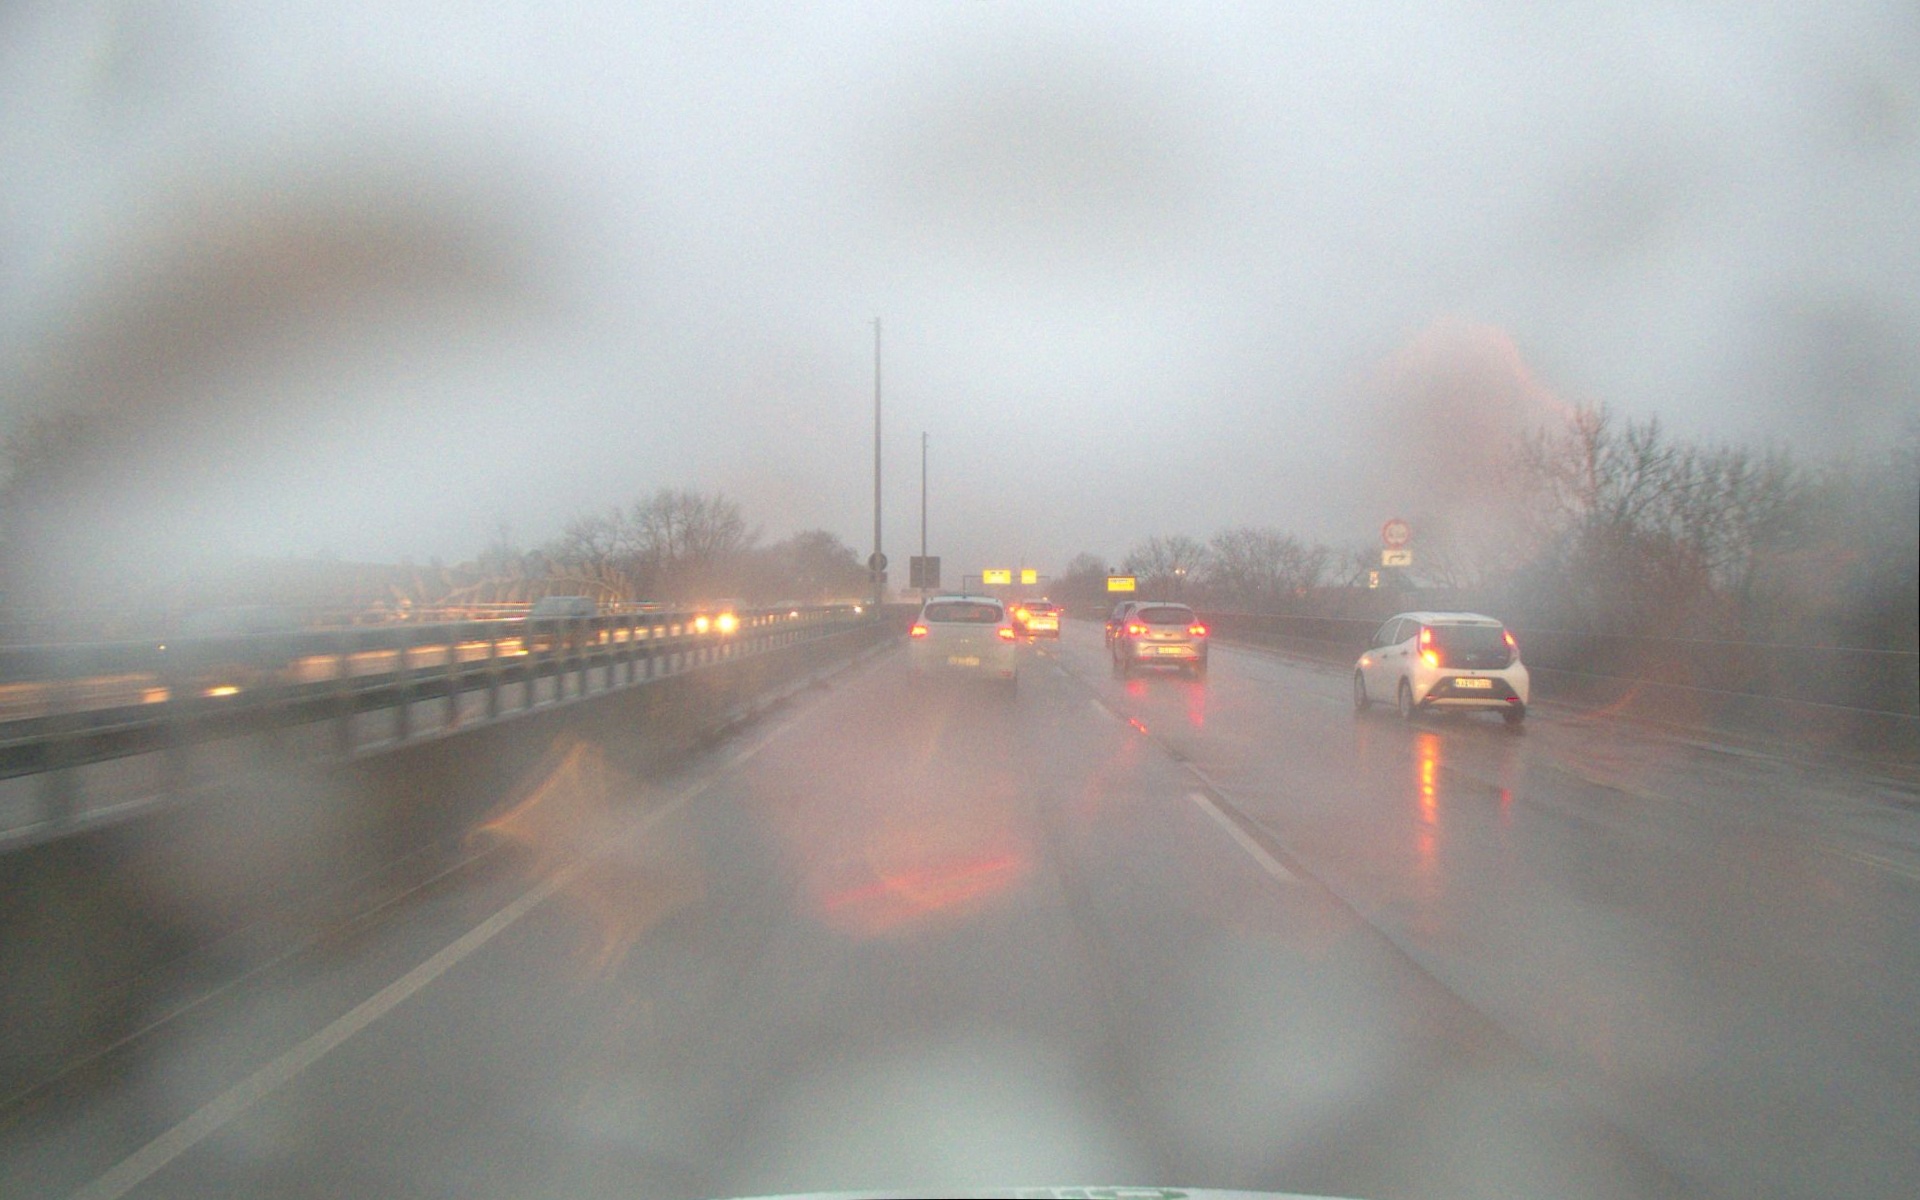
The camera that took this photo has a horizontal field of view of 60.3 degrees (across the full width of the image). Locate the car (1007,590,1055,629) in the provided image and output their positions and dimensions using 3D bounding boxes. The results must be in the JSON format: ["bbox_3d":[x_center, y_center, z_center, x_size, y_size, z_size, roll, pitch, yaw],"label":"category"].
[{"bbox_3d":[2.957,0.365,69.595,1.753,1.572,3.999,0,0,-2],"label":"car"}]

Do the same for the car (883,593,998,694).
[{"bbox_3d":[-0.246,0.632,26.537,1.688,1.465,4.226,-1,0,1],"label":"car"}]

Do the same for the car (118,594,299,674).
[{"bbox_3d":[-14.899,0.632,33.020,1.856,1.490,3.999,-1,0,-2],"label":"car"}]

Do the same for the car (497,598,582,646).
[{"bbox_3d":[-13.736,0.699,54.208,1.856,1.490,3.999,-1,0,-2],"label":"car"}]

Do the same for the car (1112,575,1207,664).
[{"bbox_3d":[4.273,0.387,36.005,1.857,1.798,4.311,-1,0,4],"label":"car"}]

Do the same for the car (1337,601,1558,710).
[{"bbox_3d":[6.855,0.734,23.709,1.953,1.369,4.000,1,1,0],"label":"car"}]
